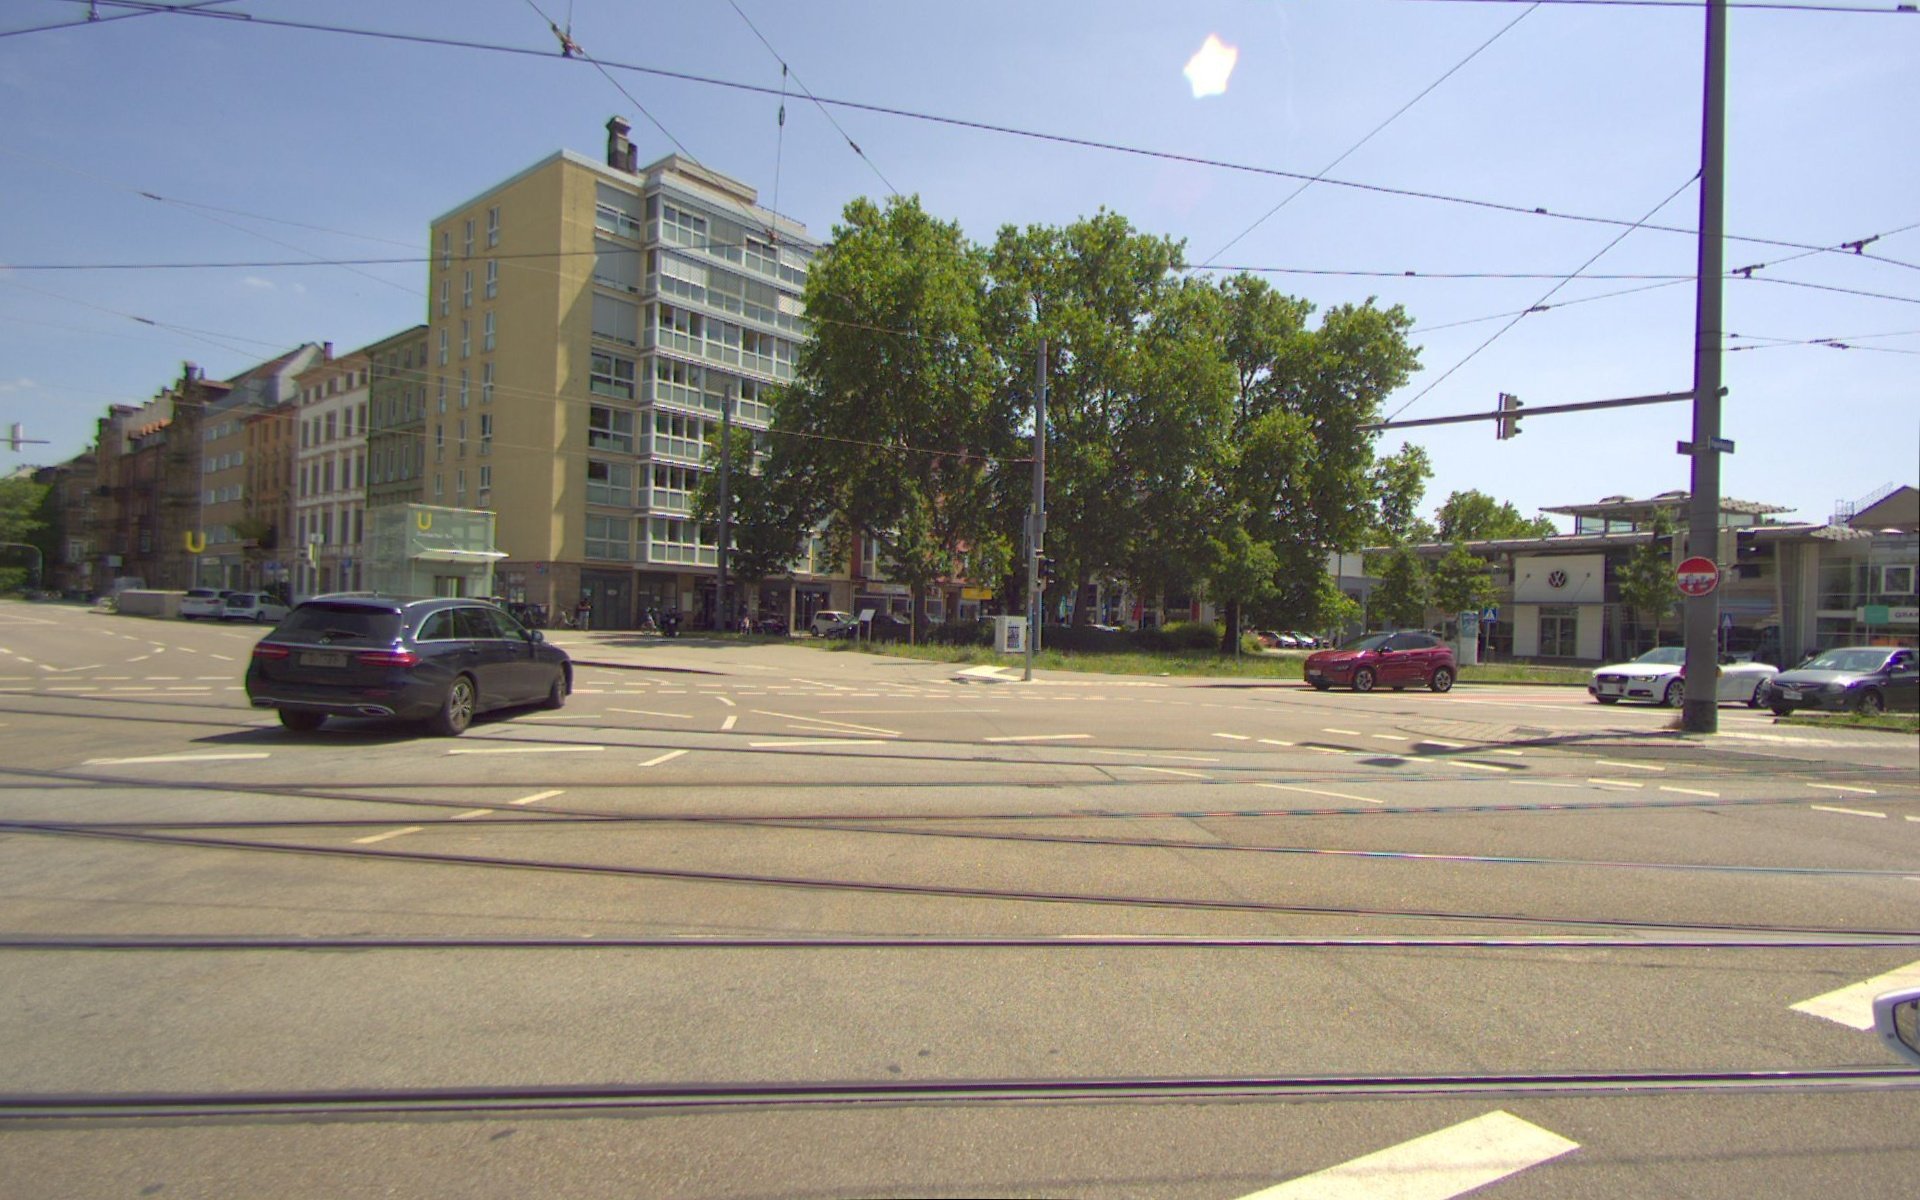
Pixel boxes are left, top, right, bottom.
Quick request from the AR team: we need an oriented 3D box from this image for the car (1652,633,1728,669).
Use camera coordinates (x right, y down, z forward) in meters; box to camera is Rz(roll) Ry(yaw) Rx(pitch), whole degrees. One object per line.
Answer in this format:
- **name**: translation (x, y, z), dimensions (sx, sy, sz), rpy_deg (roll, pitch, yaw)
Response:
- **car**: translation (39.409, 2.764, 54.208), dimensions (3.957, 1.729, 1.910), rpy_deg (3, 0, -33)

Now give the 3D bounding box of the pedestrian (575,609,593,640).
- **pedestrian**: translation (-18.052, 1.176, 48.228), dimensions (0.678, 1.506, 0.301), rpy_deg (2, -1, -43)

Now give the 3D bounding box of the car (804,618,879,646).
- **car**: translation (-6.773, 1.829, 57.267), dimensions (3.935, 1.439, 1.993), rpy_deg (1, -1, 36)

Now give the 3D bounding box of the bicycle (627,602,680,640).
- **bicycle**: translation (-15.002, 1.031, 49.191), dimensions (2.847, 1.790, 1.095), rpy_deg (1, -1, 41)

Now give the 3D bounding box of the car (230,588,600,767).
- **car**: translation (-6.170, 0.749, 12.180), dimensions (1.768, 1.662, 4.805), rpy_deg (2, 0, 1)

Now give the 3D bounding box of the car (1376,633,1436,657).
- **car**: translation (31.247, 3.146, 70.315), dimensions (4.279, 1.530, 1.757), rpy_deg (2, -1, -32)

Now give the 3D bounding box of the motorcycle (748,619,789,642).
- **motorcycle**: translation (-8.619, 1.359, 45.259), dimensions (1.885, 0.974, 0.525), rpy_deg (1, -1, 28)

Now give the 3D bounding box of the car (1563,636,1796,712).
- **car**: translation (16.777, 1.705, 23.448), dimensions (4.772, 1.601, 2.074), rpy_deg (2, -1, -20)

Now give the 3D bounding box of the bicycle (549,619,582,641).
- **bicycle**: translation (-19.202, 1.477, 48.955), dimensions (0.426, 1.040, 1.437), rpy_deg (1, -1, 41)

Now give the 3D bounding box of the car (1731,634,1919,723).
- **car**: translation (18.765, 1.608, 20.802), dimensions (4.766, 1.659, 1.993), rpy_deg (2, -1, -16)

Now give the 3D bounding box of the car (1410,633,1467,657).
- **car**: translation (32.380, 3.030, 67.904), dimensions (4.288, 1.530, 1.754), rpy_deg (2, -1, -38)

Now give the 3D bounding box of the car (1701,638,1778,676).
- **car**: translation (40.649, 2.977, 52.353), dimensions (3.957, 1.729, 1.910), rpy_deg (3, 0, -33)

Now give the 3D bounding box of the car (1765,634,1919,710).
- **car**: translation (22.894, 1.797, 25.074), dimensions (4.766, 1.723, 1.993), rpy_deg (2, -1, -16)

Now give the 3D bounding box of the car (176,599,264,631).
- **car**: translation (-37.732, 0.767, 51.338), dimensions (1.804, 1.530, 3.996), rpy_deg (2, -1, -7)

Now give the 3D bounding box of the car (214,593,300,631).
- **car**: translation (-35.174, 0.590, 50.413), dimensions (1.804, 1.773, 3.996), rpy_deg (2, -1, -7)

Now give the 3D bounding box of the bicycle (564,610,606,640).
- **bicycle**: translation (-18.022, 1.204, 48.279), dimensions (0.598, 1.135, 1.597), rpy_deg (1, -12, 45)

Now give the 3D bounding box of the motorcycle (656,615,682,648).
- **motorcycle**: translation (-11.696, 1.236, 40.322), dimensions (0.949, 1.238, 2.801), rpy_deg (2, -1, -17)

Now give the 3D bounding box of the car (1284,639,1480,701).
- **car**: translation (11.329, 1.877, 26.996), dimensions (4.772, 1.484, 1.991), rpy_deg (2, -1, -20)
